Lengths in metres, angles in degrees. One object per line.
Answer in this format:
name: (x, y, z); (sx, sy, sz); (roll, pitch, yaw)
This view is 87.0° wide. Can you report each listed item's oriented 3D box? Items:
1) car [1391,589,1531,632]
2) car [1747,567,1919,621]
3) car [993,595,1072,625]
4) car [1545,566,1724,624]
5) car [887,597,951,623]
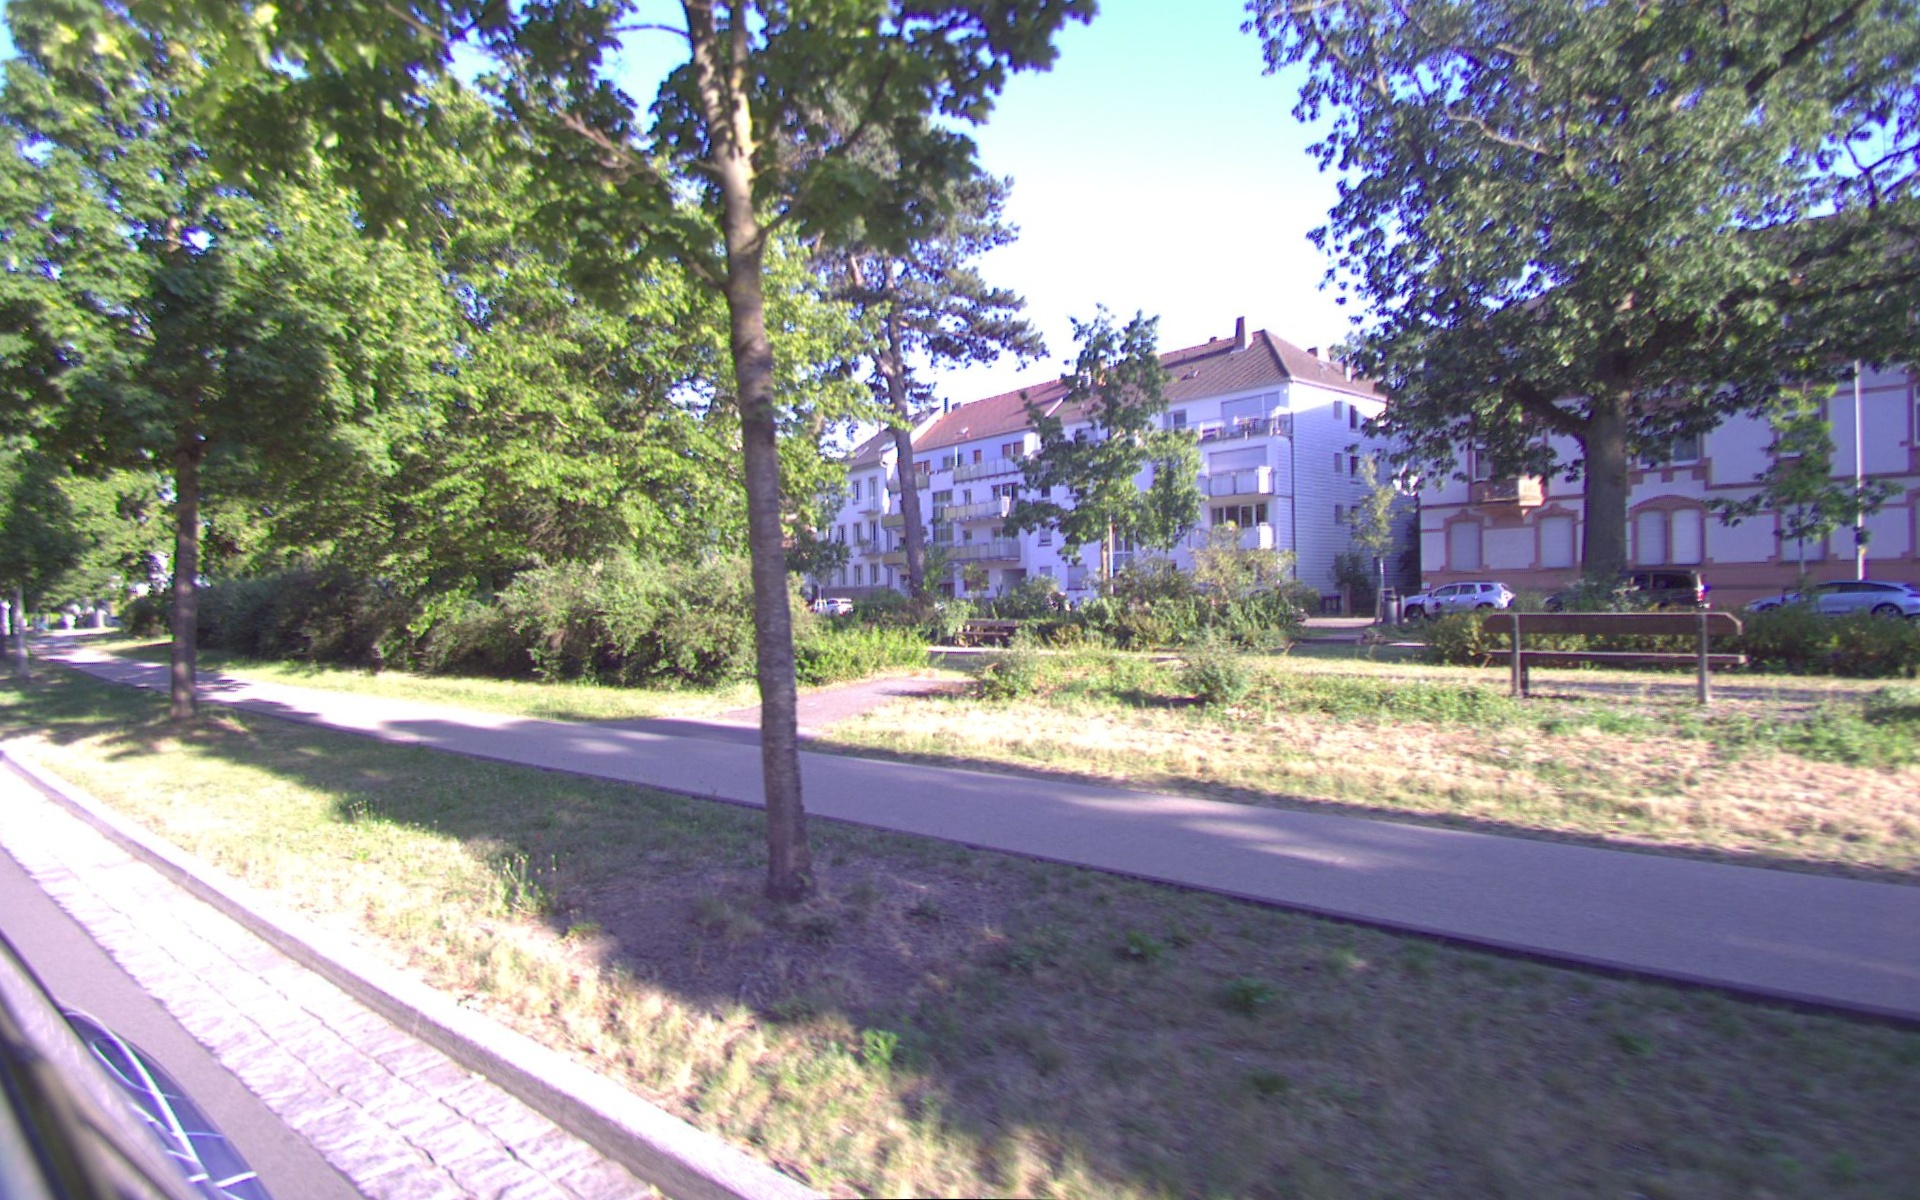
car: (19.700, 0.361, 39.921); (1.862, 1.586, 4.604); (-1, 1, -43)
car: (27.724, -0.209, 31.788); (4.600, 1.586, 1.864); (1, 1, 43)
car: (4.081, 0.552, 57.490); (1.861, 1.586, 4.608); (-1, 1, -39)
car: (23.671, -0.221, 35.668); (1.862, 1.907, 4.981); (-1, 1, -43)
car: (-2.674, 0.610, 65.479); (1.860, 1.586, 4.610); (0, 1, -37)
